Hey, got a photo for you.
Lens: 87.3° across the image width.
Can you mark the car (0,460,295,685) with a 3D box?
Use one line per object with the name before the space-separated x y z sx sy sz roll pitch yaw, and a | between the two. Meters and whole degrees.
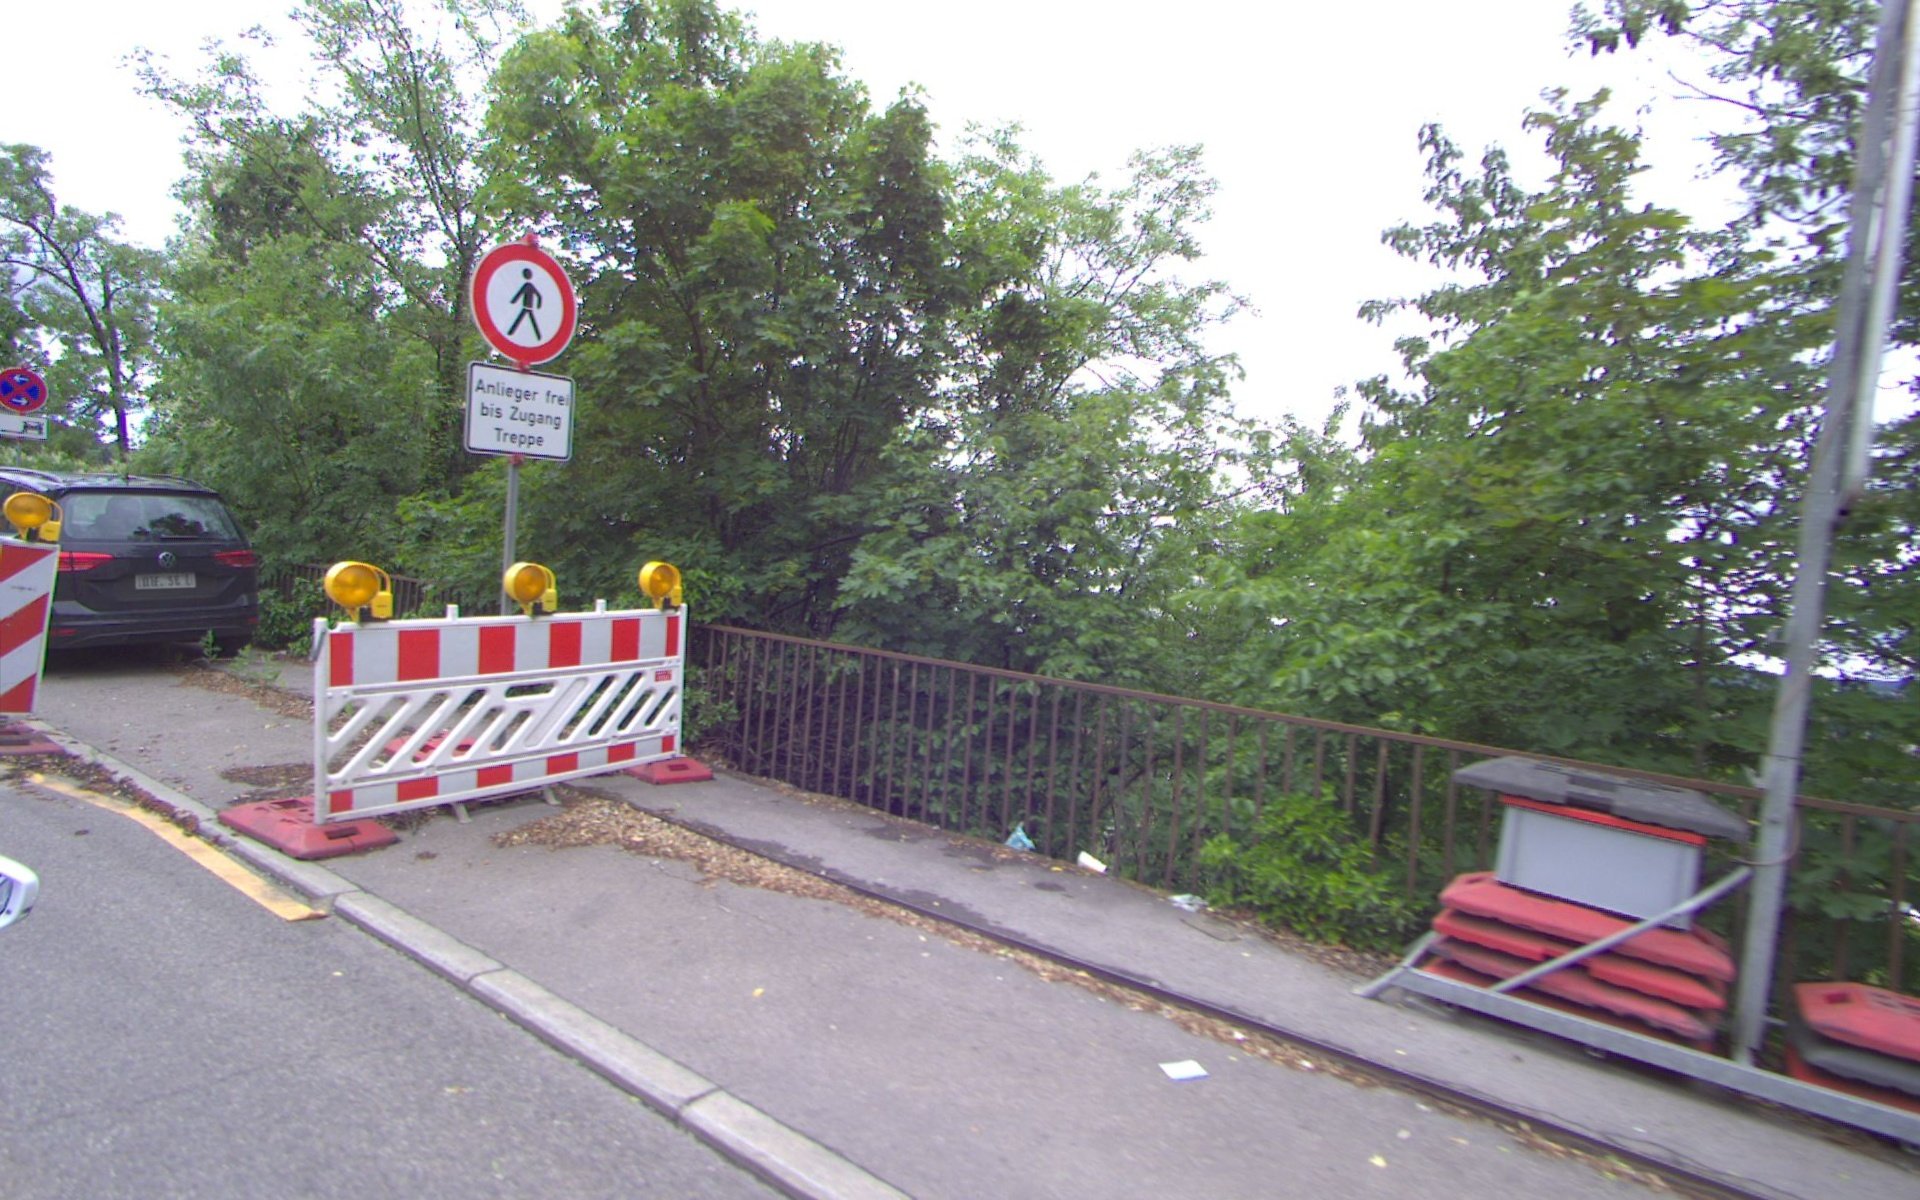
car | -8.602 -0.423 9.591 4.567 1.697 1.862 7 4 29
